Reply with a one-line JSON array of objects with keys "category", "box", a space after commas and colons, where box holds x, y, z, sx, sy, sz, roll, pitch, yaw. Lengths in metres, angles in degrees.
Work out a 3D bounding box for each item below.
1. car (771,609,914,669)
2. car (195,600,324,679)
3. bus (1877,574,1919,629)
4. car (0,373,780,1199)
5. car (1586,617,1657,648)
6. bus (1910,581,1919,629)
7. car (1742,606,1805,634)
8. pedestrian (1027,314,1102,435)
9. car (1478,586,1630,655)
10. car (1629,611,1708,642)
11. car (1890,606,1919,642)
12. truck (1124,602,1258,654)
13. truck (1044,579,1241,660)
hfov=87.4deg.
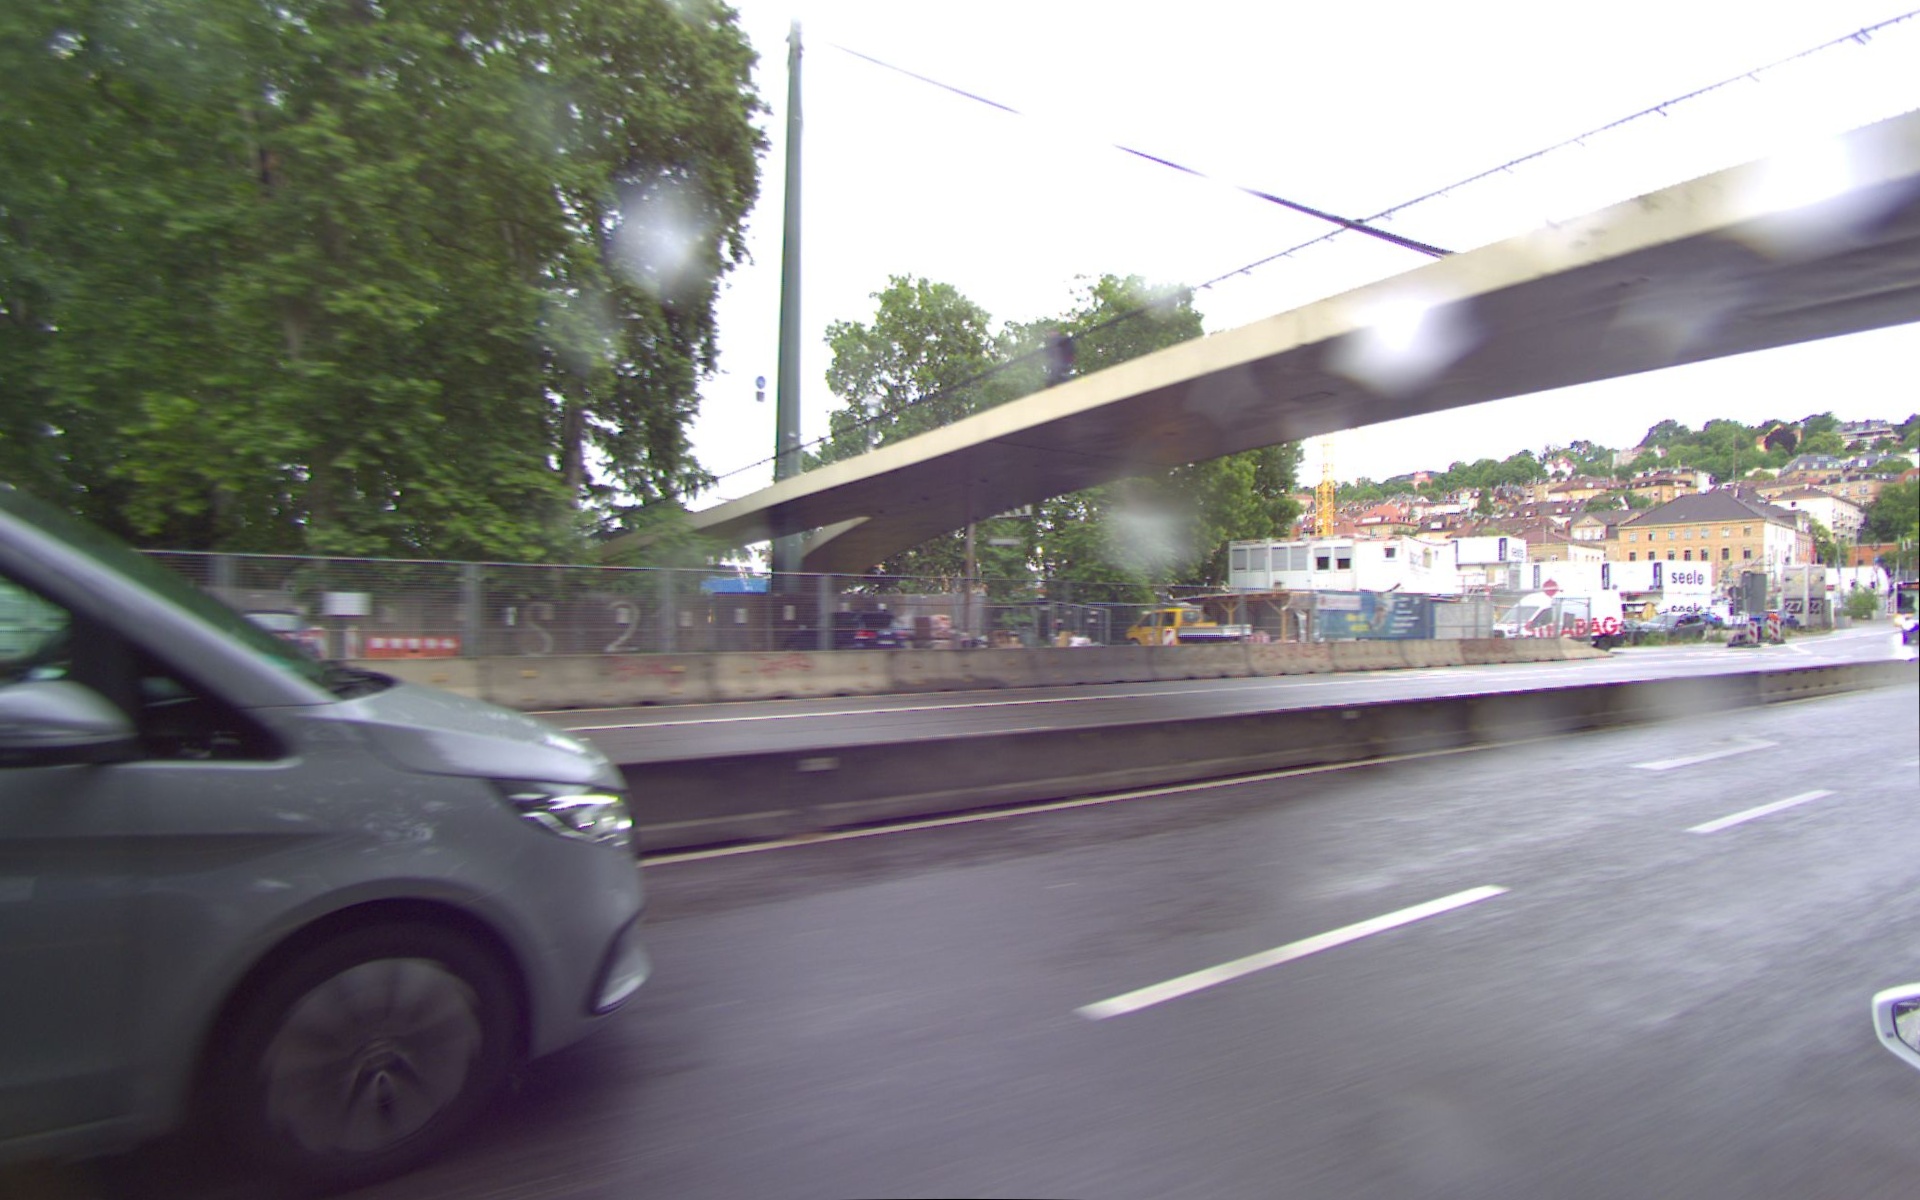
[{"category": "car", "box": [-3.572, 1.158, 29.967, 4.378, 1.649, 1.947, -2, -3, 45]}, {"category": "car", "box": [-14.646, 0.821, 20.916, 1.982, 1.462, 3.957, 3, -3, -37]}, {"category": "bus", "box": [60.009, 0.178, 62.593, 8.728, 3.226, 2.785, 1, -2, -38]}, {"category": "car", "box": [-3.267, 0.453, 2.295, 5.308, 1.881, 1.979, 2, 0, -37]}, {"category": "car", "box": [35.394, 1.705, 53.733, 4.132, 1.586, 1.751, 0, -1, -35]}, {"category": "bus", "box": [67.185, 0.397, 68.101, 9.067, 3.193, 2.683, 1, -2, -38]}, {"category": "car", "box": [51.251, 1.224, 63.281, 3.958, 1.643, 1.982, -1, 0, -34]}, {"category": "pedestrian", "box": [2.128, -4.565, 20.525, 1.046, 2.087, 1.143, 2, -2, -29]}, {"category": "car", "box": [26.341, 0.945, 44.619, 5.944, 2.913, 1.997, 1, -2, -10]}, {"category": "car", "box": [39.676, 1.516, 56.225, 4.624, 1.586, 1.755, 2, -3, -28]}, {"category": "car", "box": [46.531, 1.151, 48.174, 4.808, 1.652, 2.066, 1, -2, -38]}, {"category": "truck", "box": [9.545, 1.178, 41.839, 2.147, 2.040, 5.202, 2, -2, -41]}, {"category": "truck", "box": [6.075, 0.718, 34.149, 2.676, 2.484, 6.216, 3, -3, -44]}]
